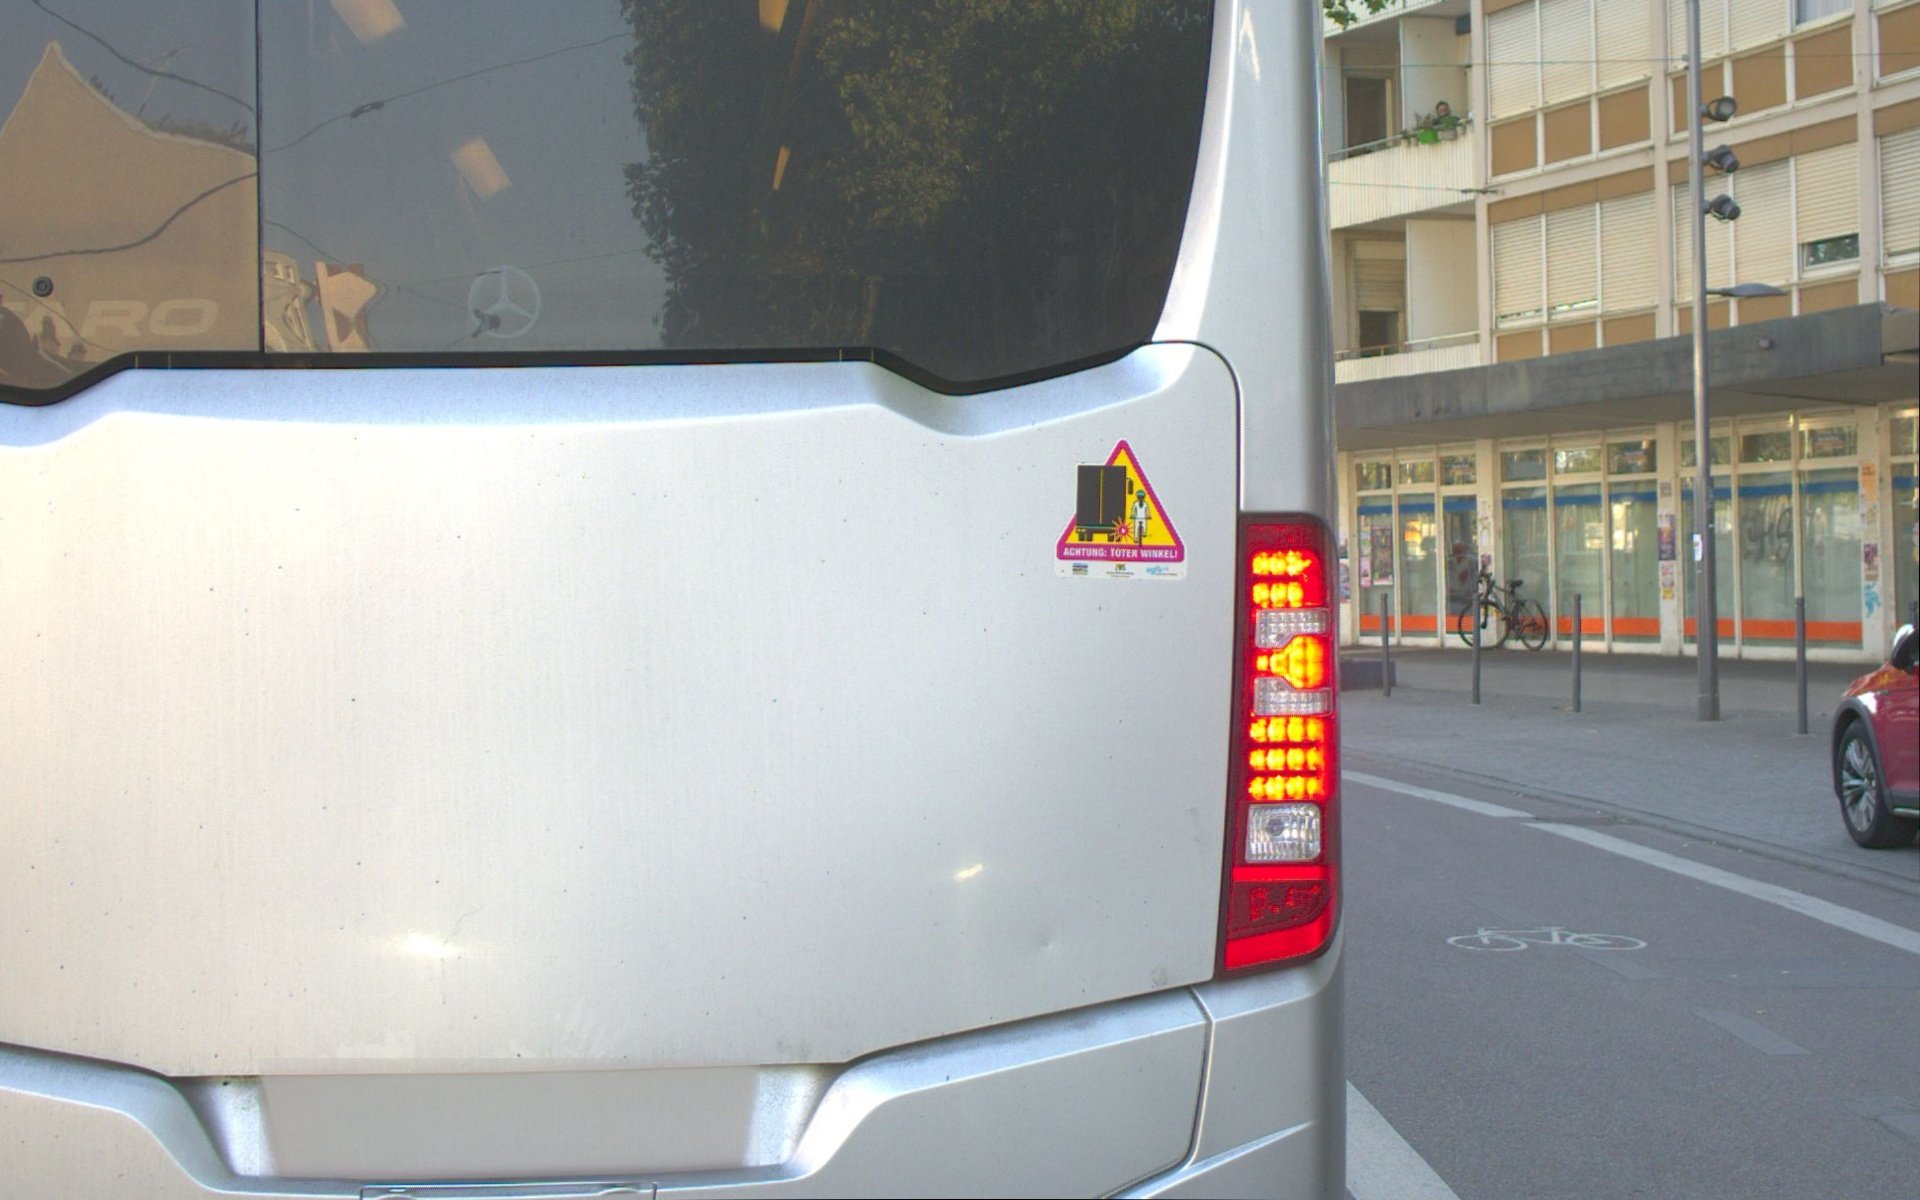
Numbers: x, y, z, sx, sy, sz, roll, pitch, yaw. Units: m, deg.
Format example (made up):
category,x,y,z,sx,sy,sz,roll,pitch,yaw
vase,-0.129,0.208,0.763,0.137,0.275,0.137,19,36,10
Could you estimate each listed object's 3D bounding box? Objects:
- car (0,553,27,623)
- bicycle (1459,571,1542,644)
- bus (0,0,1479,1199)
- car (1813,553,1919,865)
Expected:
category,x,y,z,sx,sy,sz,roll,pitch,yaw
car,-25.793,-0.320,88.278,1.994,1.785,3.998,1,0,-41
bicycle,7.166,0.093,45.594,0.412,0.941,1.441,-1,1,-20
bus,-0.793,-0.138,9.780,2.630,3.017,9.998,0,1,-2
car,5.523,0.508,15.867,1.769,1.477,4.304,-2,1,-4
